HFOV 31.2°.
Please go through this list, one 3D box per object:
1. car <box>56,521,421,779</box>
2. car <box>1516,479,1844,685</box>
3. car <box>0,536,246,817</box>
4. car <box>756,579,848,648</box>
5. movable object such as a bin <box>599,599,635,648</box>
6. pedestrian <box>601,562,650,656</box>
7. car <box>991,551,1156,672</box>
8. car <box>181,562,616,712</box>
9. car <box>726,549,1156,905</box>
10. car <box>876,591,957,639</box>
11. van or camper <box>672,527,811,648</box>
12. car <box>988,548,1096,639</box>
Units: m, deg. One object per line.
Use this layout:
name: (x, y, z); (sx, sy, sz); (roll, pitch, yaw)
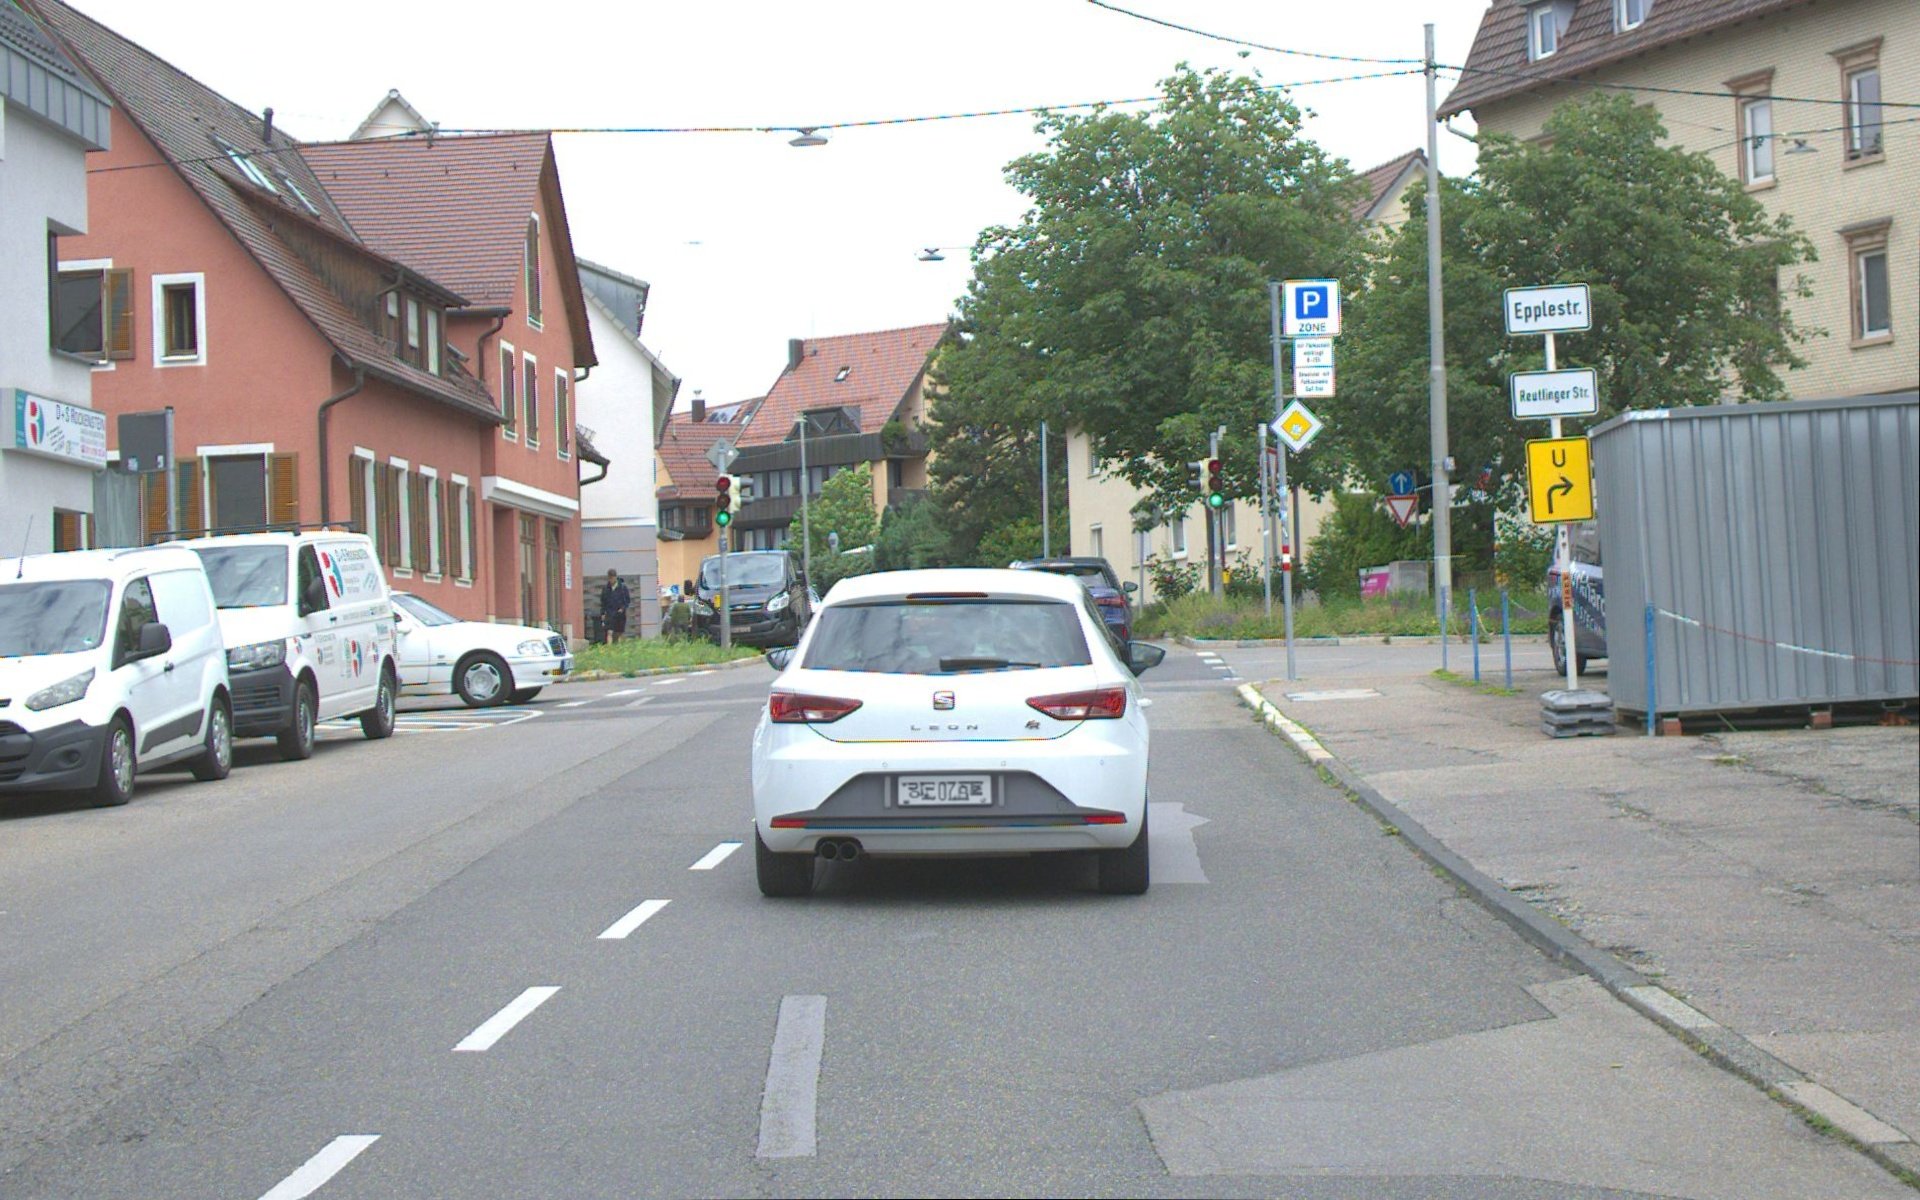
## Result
car: (-6.258, 0.364, 30.417); (1.812, 1.999, 4.762); (-4, 1, 4)
car: (6.777, -0.190, 32.850); (1.746, 1.733, 4.573); (-3, 1, -5)
car: (-6.602, 0.505, 24.947); (1.733, 1.825, 4.298); (-4, 1, 2)
car: (-3.913, 0.349, 84.639); (1.997, 1.627, 4.858); (-1, -1, -6)
movable object such as a bin: (-7.296, 0.492, 73.208); (0.665, 1.015, 0.795); (-2, 0, -1)
pedestrian: (-6.395, 0.169, 65.778); (0.800, 1.778, 0.893); (-1, 0, 2)
car: (1.417, 0.171, 44.277); (1.758, 1.447, 4.000); (-1, -1, -3)
car: (-6.479, 0.417, 39.952); (4.554, 1.440, 2.000); (-3, 0, 6)
car: (0.012, 0.513, 16.325); (1.758, 1.447, 4.000); (-1, 0, 3)
car: (-1.412, 0.503, 110.061); (1.758, 1.447, 4.001); (1, -1, -13)
van or camper: (-4.076, -0.195, 64.853); (2.074, 1.999, 4.857); (-4, -2, 2)
car: (1.392, -0.084, 58.762); (1.758, 1.447, 4.000); (-1, -1, 1)
